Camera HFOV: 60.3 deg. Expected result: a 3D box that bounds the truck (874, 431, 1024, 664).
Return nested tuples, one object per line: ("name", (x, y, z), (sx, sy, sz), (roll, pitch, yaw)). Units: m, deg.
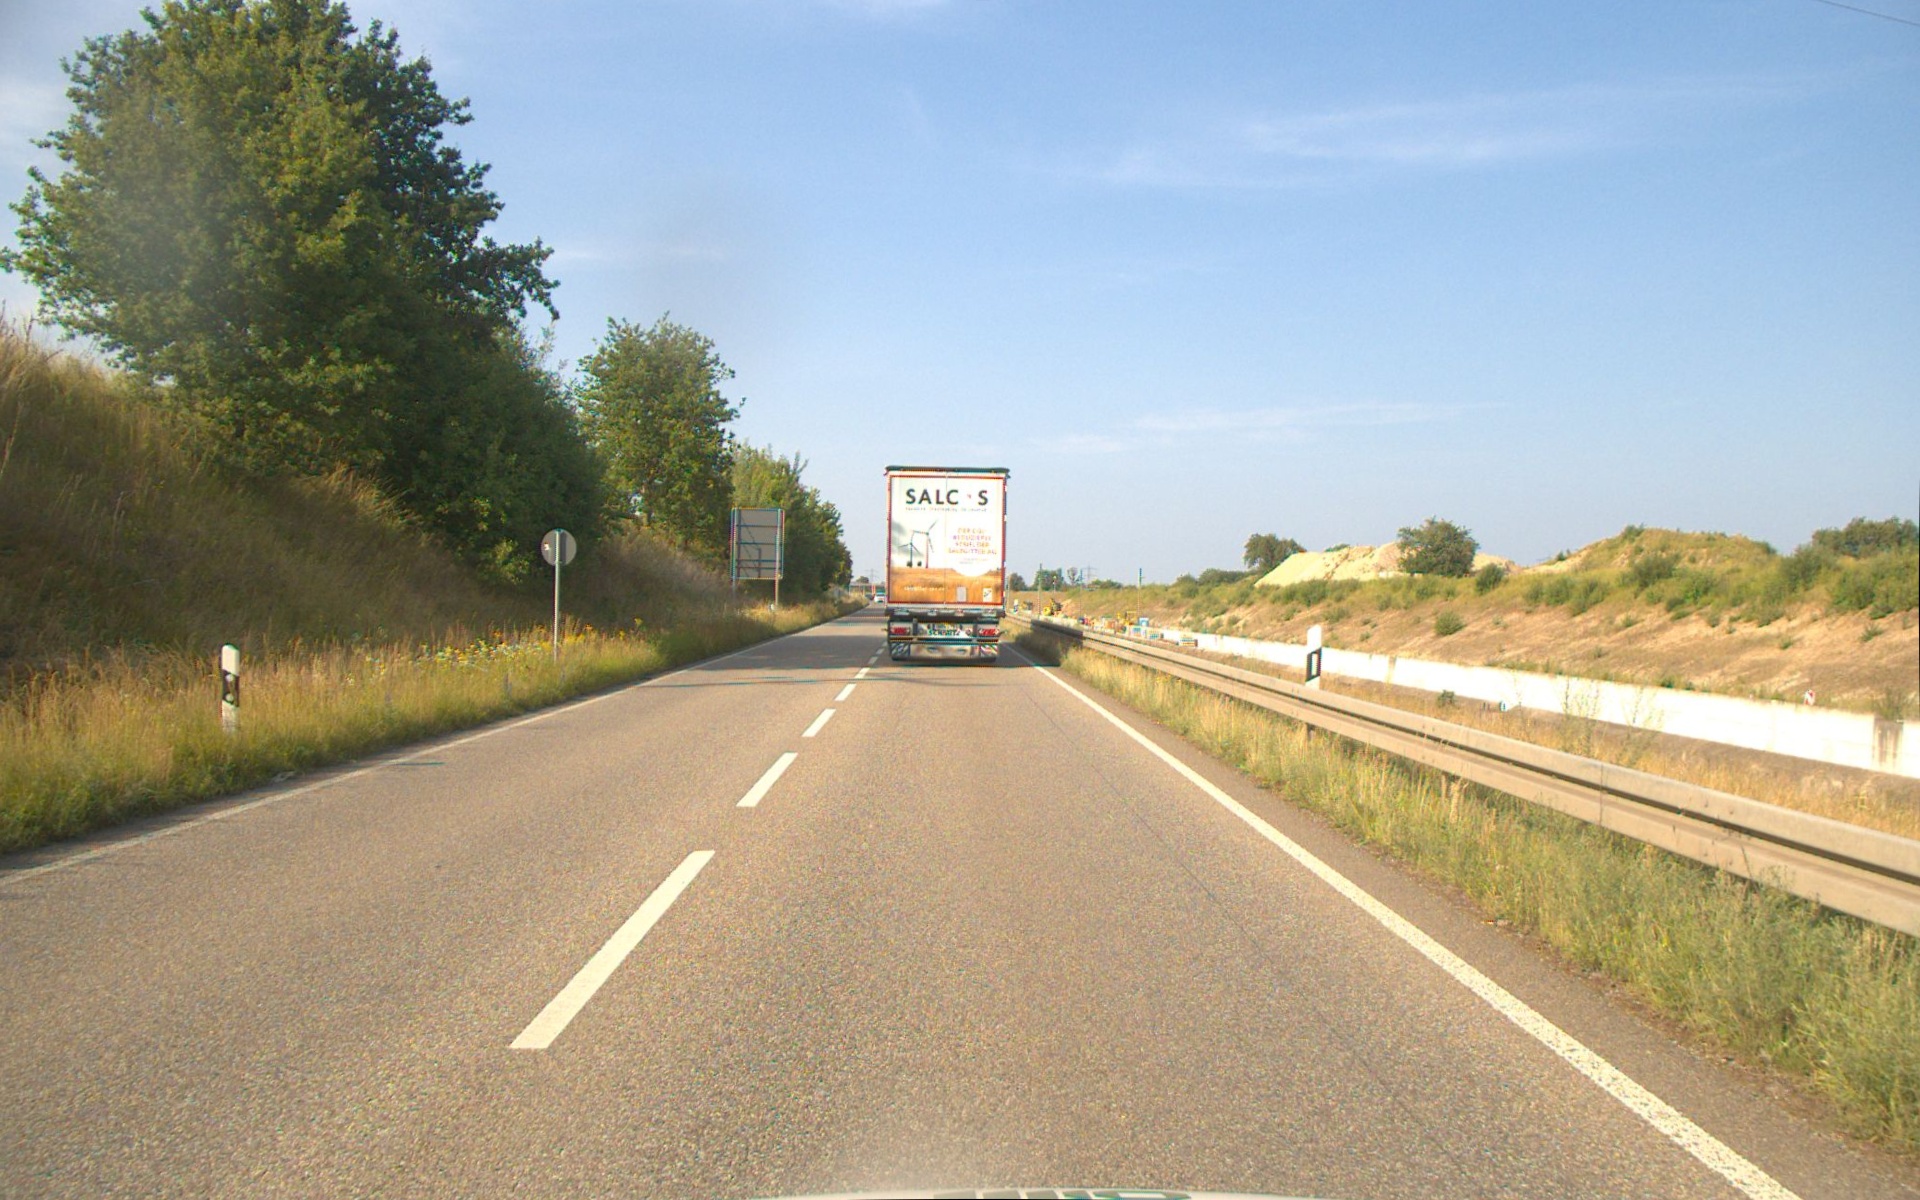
("truck", (-0.388, -1.092, 38.245), (3.090, 4.770, 8.437), (0, 0, -2))
